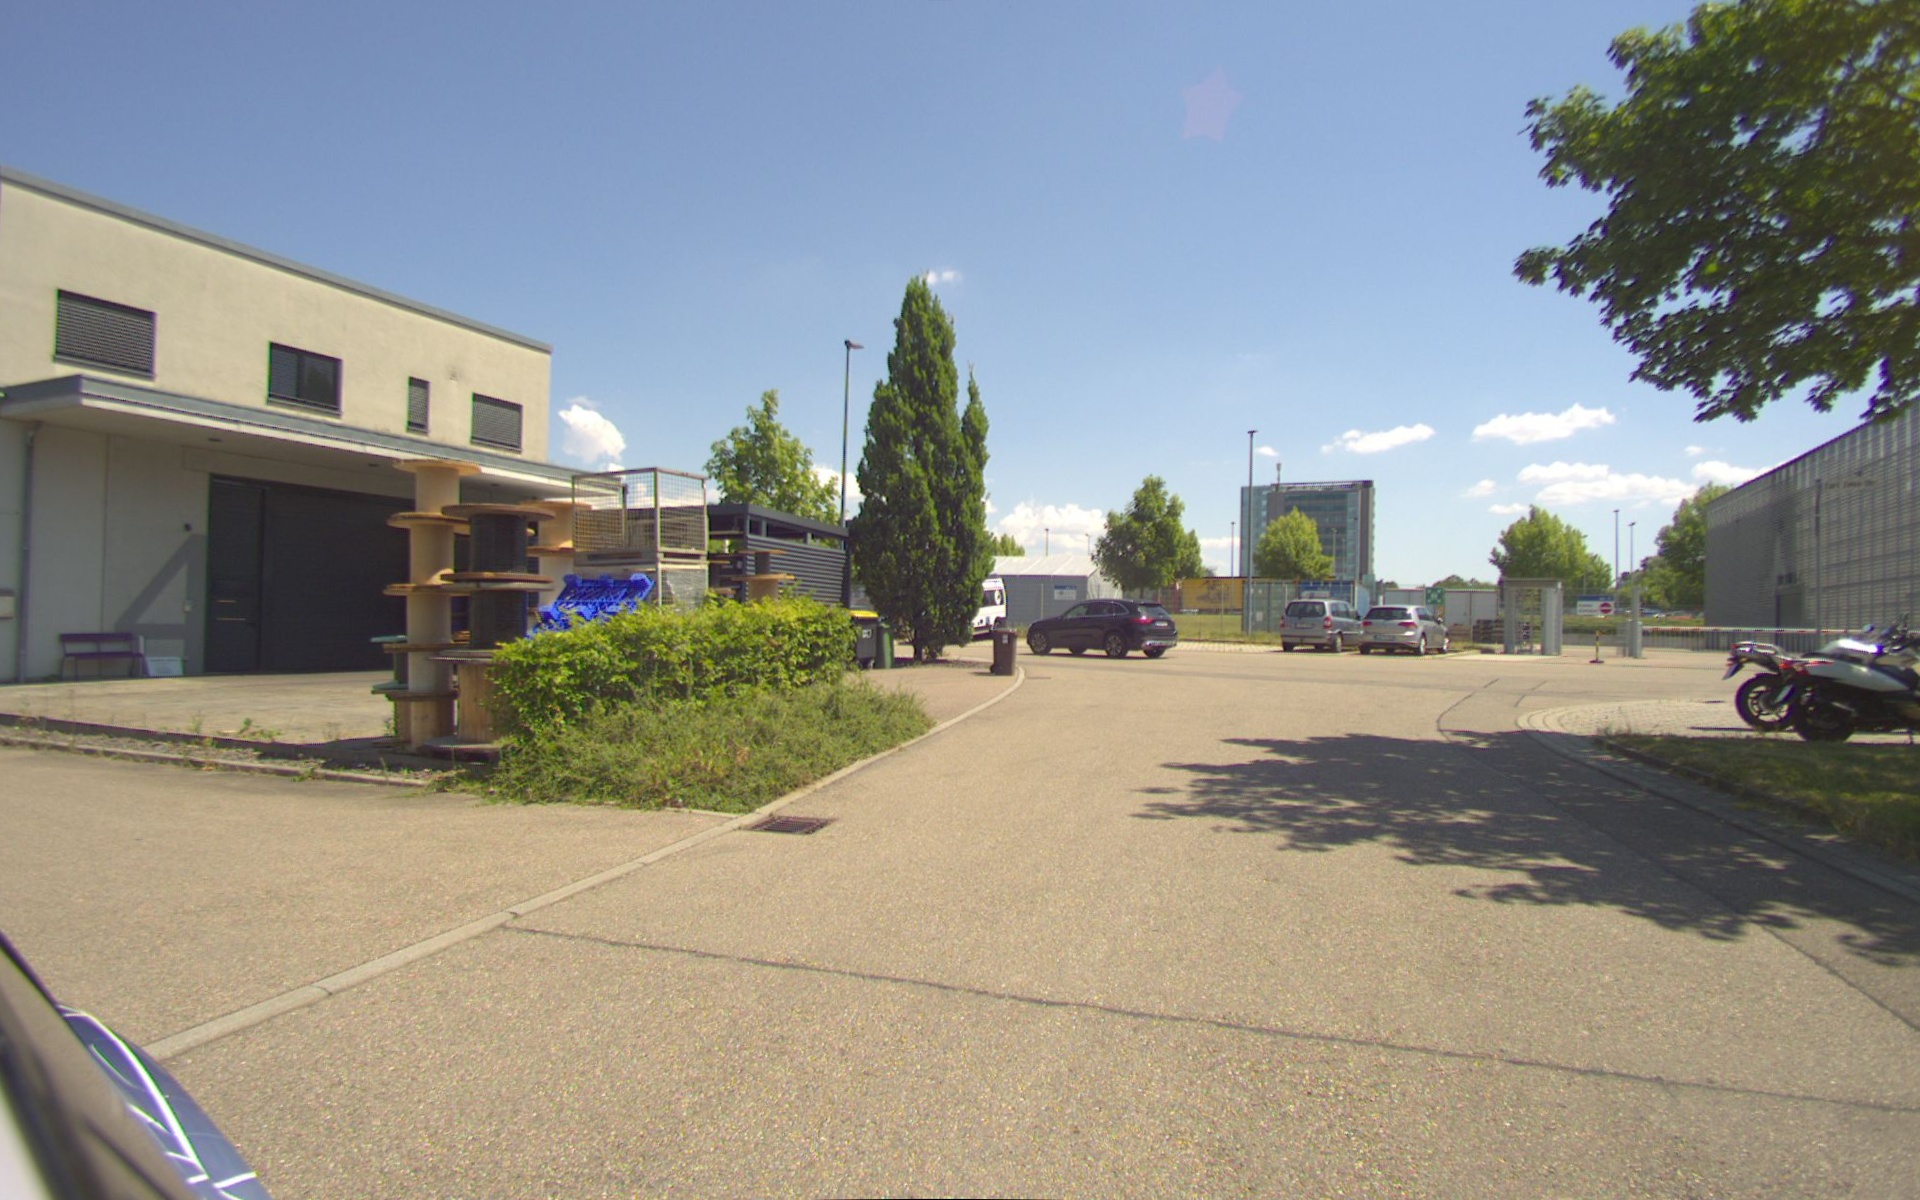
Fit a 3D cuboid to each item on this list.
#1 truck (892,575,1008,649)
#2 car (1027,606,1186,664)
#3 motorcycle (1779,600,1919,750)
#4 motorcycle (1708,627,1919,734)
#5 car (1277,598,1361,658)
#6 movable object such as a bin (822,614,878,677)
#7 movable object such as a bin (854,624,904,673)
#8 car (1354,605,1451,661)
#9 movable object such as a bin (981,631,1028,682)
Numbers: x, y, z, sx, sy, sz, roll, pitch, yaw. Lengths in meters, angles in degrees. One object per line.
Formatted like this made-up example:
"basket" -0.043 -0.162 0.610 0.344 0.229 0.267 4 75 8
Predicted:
"truck" -0.275 0.478 39.937 2.405 2.692 5.649 -1 -1 25
"car" 4.065 0.944 28.602 1.928 1.525 4.266 1 -1 -39
"motorcycle" 9.147 0.705 9.684 1.973 1.400 0.481 -1 -1 18
"motorcycle" 9.450 0.860 11.068 1.973 1.117 0.481 -1 -1 18
"car" 11.303 0.830 31.680 1.766 1.751 3.958 0 -1 31
"movable object such as a bin" -2.437 0.986 22.519 0.757 1.346 1.062 0 -1 30
"movable object such as a bin" -1.868 1.109 23.455 0.757 1.092 0.978 0 -1 30
"car" 13.157 0.930 29.995 1.651 1.533 3.947 0 -1 39
"movable object such as a bin" 0.902 1.134 20.465 0.757 0.977 0.584 0 -1 30
